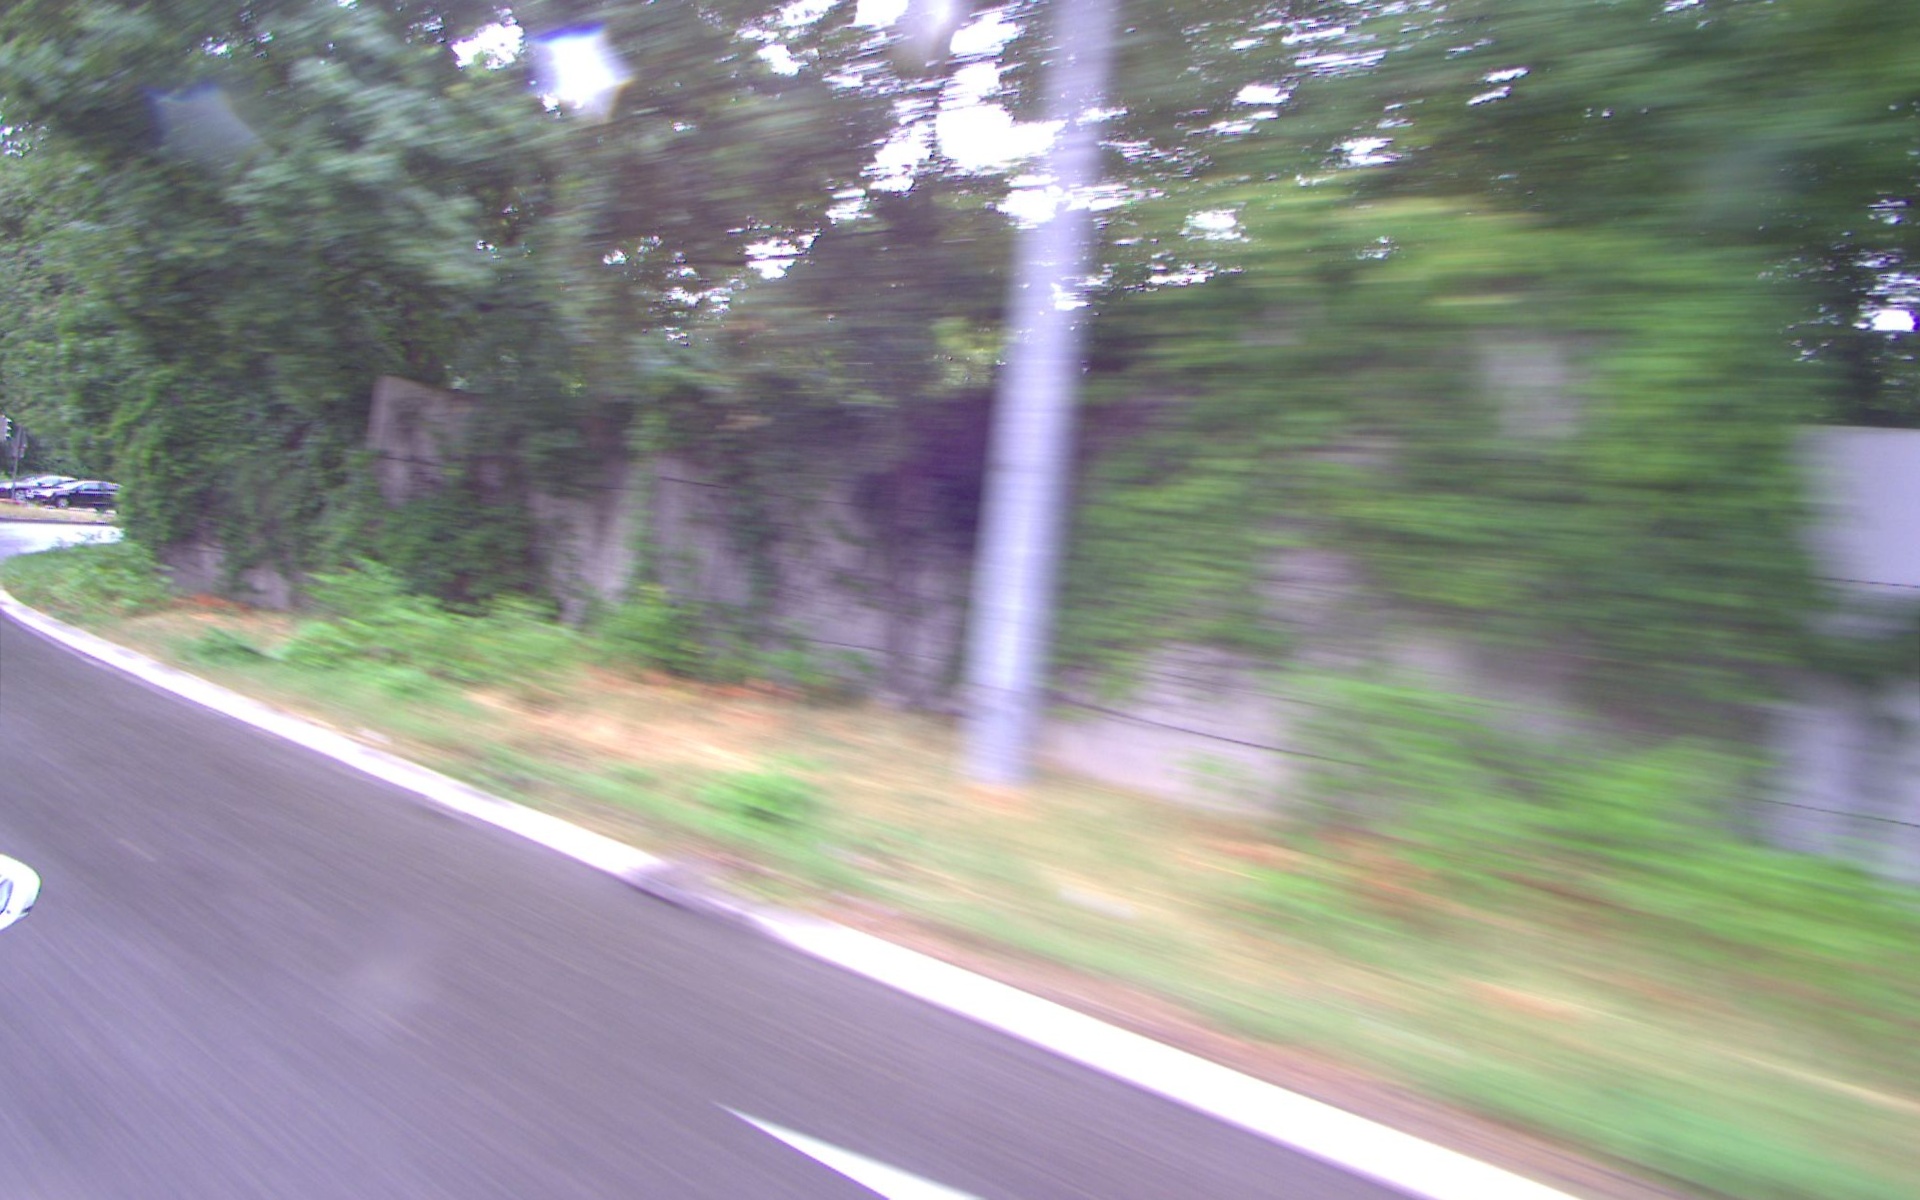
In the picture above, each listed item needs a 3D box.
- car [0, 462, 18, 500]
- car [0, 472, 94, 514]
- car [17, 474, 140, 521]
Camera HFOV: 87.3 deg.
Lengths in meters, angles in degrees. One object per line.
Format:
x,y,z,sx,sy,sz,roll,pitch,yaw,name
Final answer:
-50.505,-6.235,50.371,2.097,1.861,4.345,7,3,24,car
-43.819,-5.095,47.536,1.843,1.505,4.000,7,0,15,car
-40.175,-4.646,45.941,1.641,1.504,3.865,6,0,20,car
